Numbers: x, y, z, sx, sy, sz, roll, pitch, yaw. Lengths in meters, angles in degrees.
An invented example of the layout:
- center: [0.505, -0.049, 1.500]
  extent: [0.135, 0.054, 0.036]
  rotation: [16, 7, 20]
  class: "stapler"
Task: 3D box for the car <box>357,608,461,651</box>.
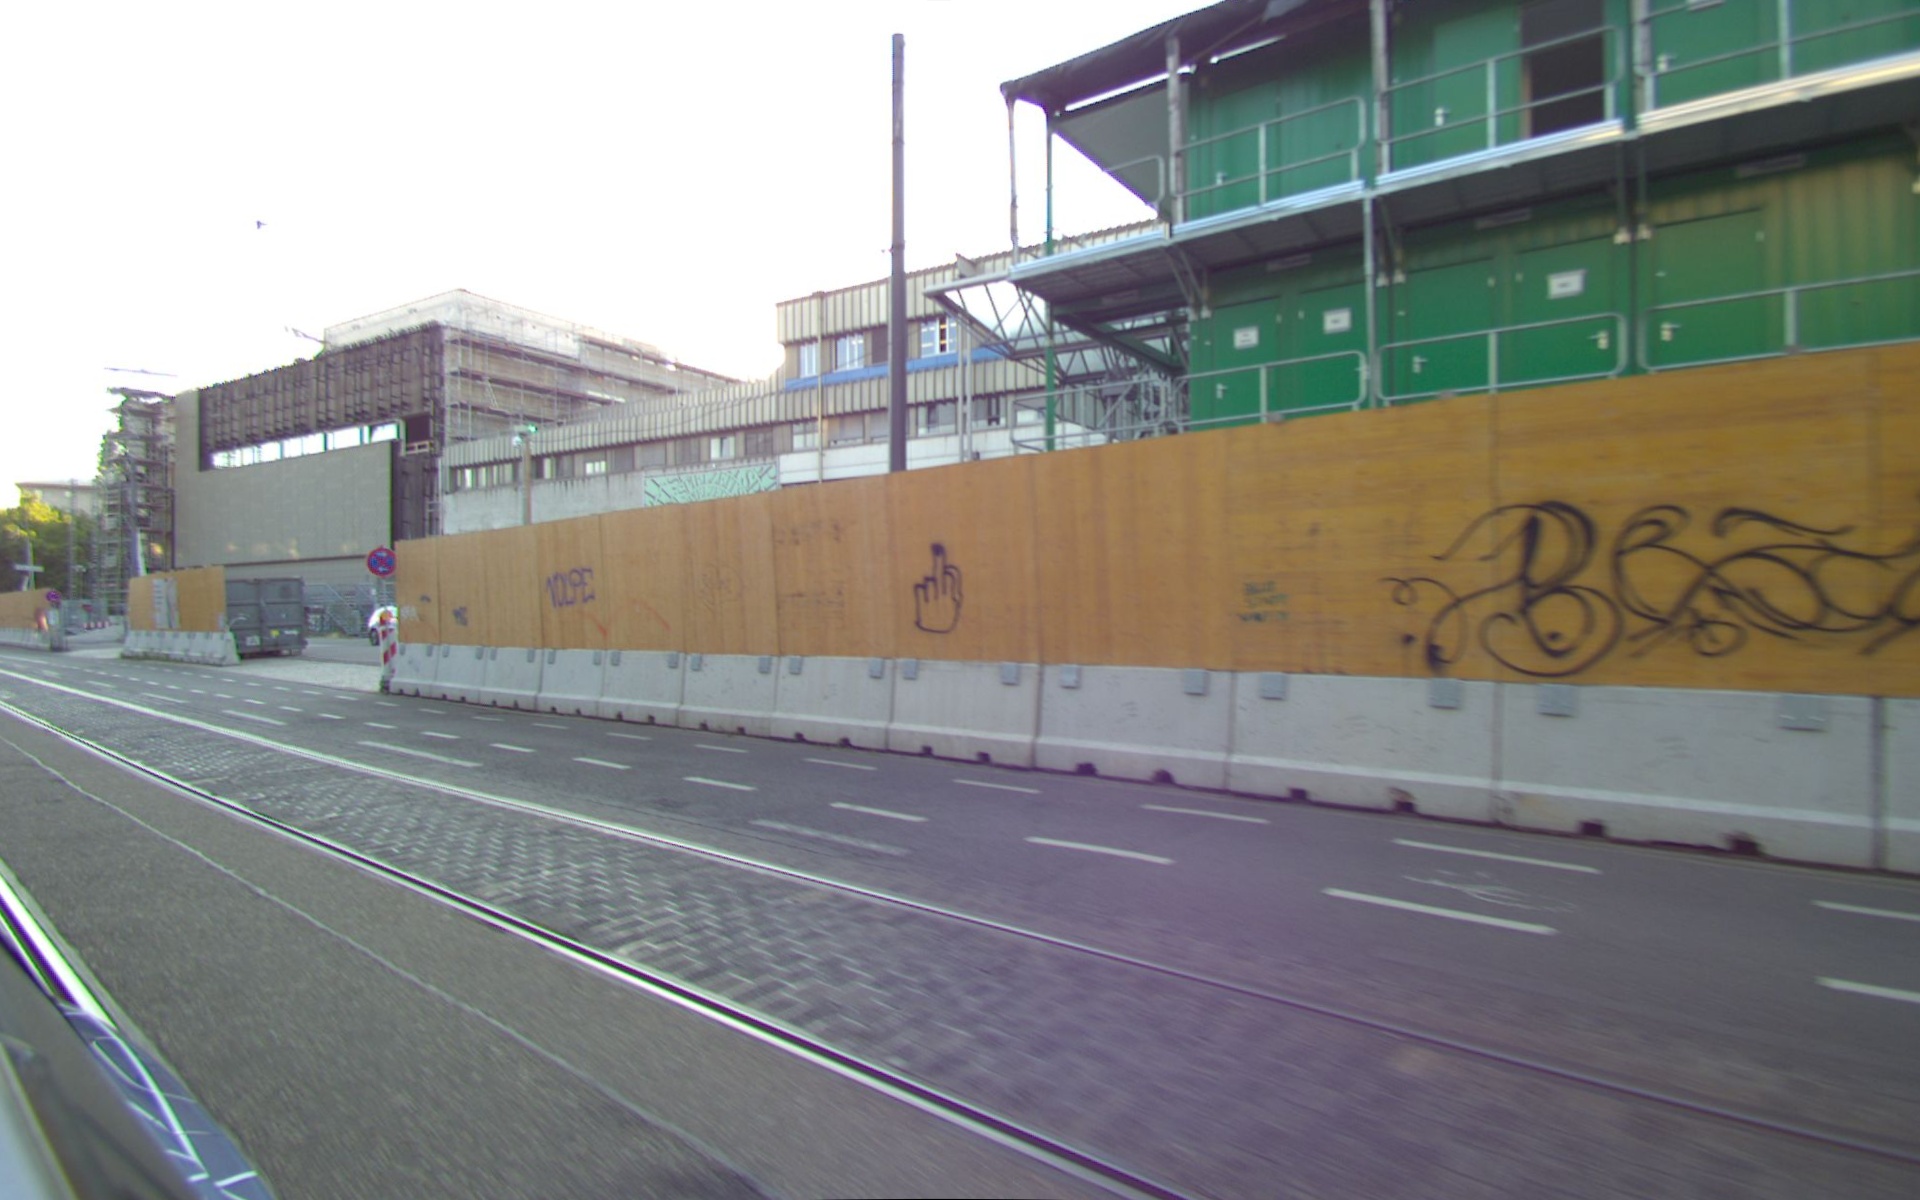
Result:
- center: [-22.698, 1.189, 41.670]
  extent: [4.267, 1.676, 1.978]
  rotation: [-1, -1, 33]
  class: "car"
